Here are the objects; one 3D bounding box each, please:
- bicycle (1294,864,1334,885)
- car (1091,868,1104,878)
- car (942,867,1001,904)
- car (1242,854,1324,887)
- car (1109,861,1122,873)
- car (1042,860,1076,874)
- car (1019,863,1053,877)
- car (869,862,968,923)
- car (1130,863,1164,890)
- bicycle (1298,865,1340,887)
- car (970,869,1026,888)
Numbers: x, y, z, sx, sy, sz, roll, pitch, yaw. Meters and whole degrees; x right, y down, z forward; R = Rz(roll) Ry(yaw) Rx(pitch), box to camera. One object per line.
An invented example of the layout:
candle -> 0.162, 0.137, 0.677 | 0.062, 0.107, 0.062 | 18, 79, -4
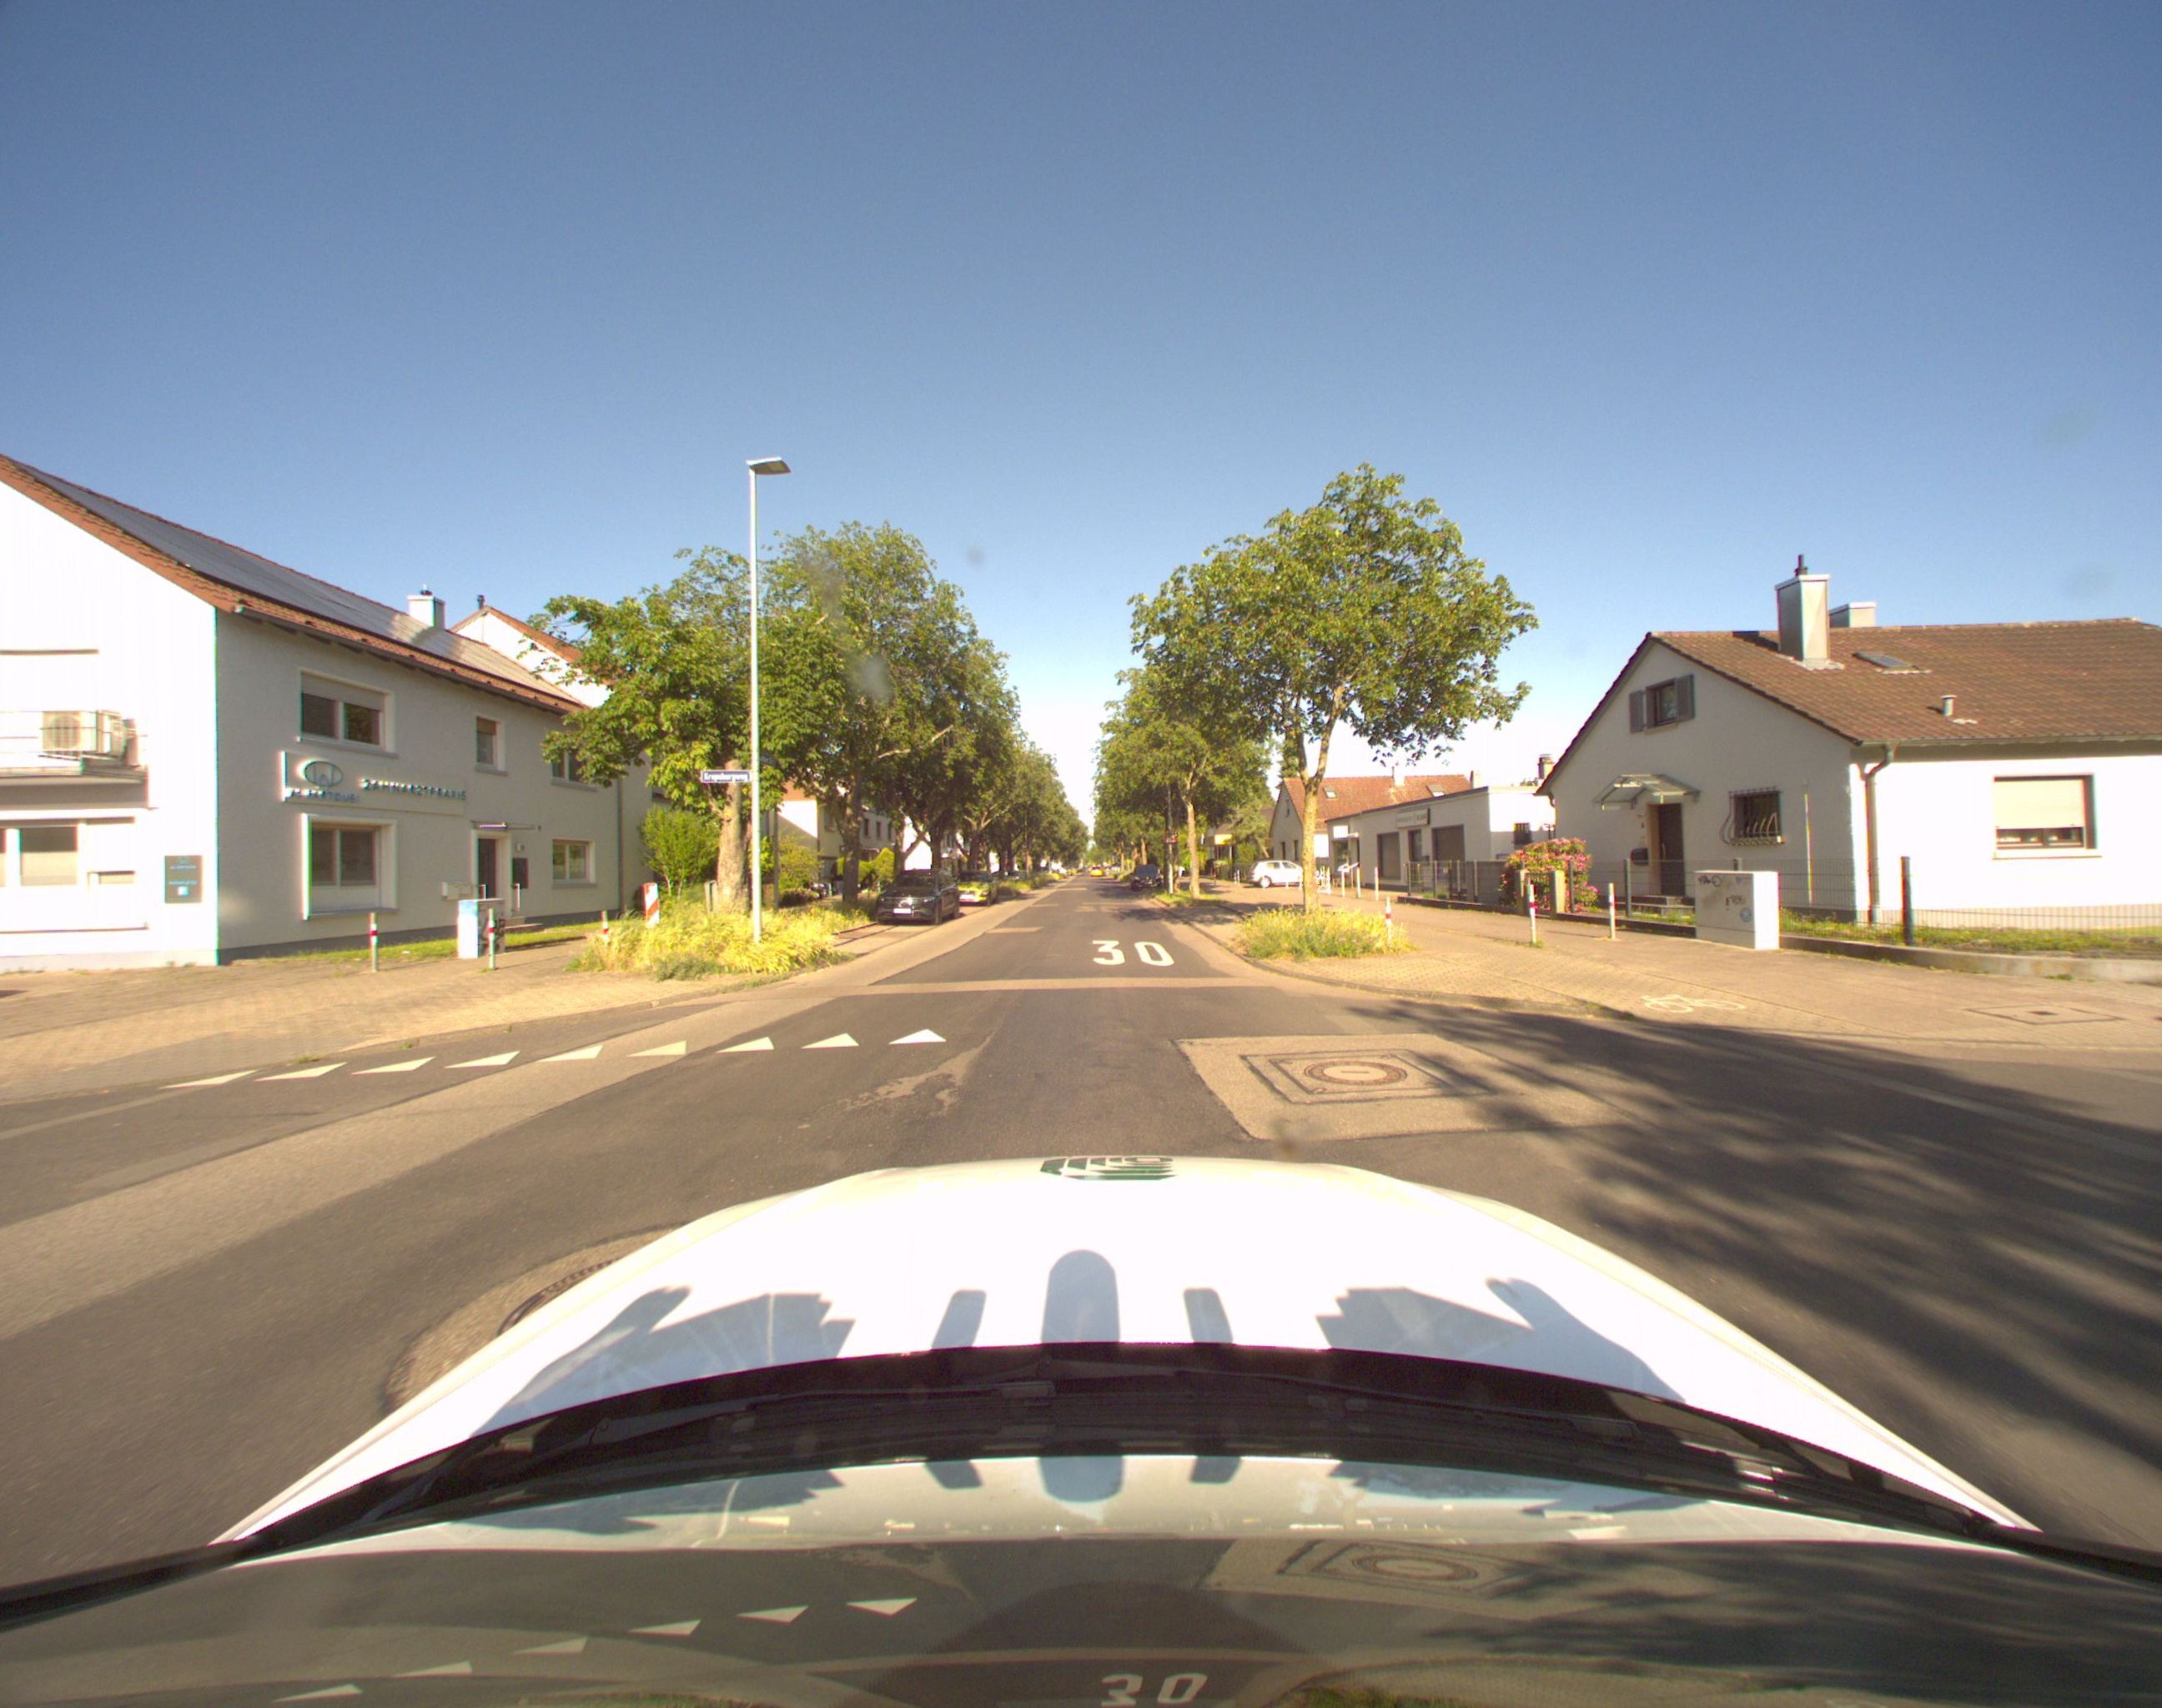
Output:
bicycle -> 12.177, 1.080, 42.545 | 1.918, 0.998, 0.576 | -3, 1, -1
car -> 2.476, 2.797, 120.113 | 1.880, 1.479, 3.889 | 1, -1, 2
car -> -4.888, 1.411, 36.931 | 1.931, 1.609, 4.385 | 0, -2, 2
car -> 11.027, 0.891, 44.666 | 3.975, 1.488, 1.901 | -3, 1, -1
car -> 5.307, 2.036, 125.881 | 1.896, 1.774, 4.302 | 0, -1, 1
car -> -3.645, 2.123, 135.008 | 5.482, 2.247, 2.516 | 0, 1, -1
car -> -5.908, 2.144, 106.944 | 4.537, 1.765, 1.997 | 0, 1, -4
car -> -4.912, 1.159, 25.416 | 1.946, 1.727, 4.876 | 0, -2, 2
car -> 4.252, 1.446, 52.926 | 1.847, 1.626, 4.469 | -3, -1, 1
bicycle -> 12.156, 1.095, 41.557 | 1.952, 0.998, 0.576 | -3, 1, -1
car -> -7.022, 2.062, 69.492 | 4.539, 1.511, 1.841 | 0, 1, 0
